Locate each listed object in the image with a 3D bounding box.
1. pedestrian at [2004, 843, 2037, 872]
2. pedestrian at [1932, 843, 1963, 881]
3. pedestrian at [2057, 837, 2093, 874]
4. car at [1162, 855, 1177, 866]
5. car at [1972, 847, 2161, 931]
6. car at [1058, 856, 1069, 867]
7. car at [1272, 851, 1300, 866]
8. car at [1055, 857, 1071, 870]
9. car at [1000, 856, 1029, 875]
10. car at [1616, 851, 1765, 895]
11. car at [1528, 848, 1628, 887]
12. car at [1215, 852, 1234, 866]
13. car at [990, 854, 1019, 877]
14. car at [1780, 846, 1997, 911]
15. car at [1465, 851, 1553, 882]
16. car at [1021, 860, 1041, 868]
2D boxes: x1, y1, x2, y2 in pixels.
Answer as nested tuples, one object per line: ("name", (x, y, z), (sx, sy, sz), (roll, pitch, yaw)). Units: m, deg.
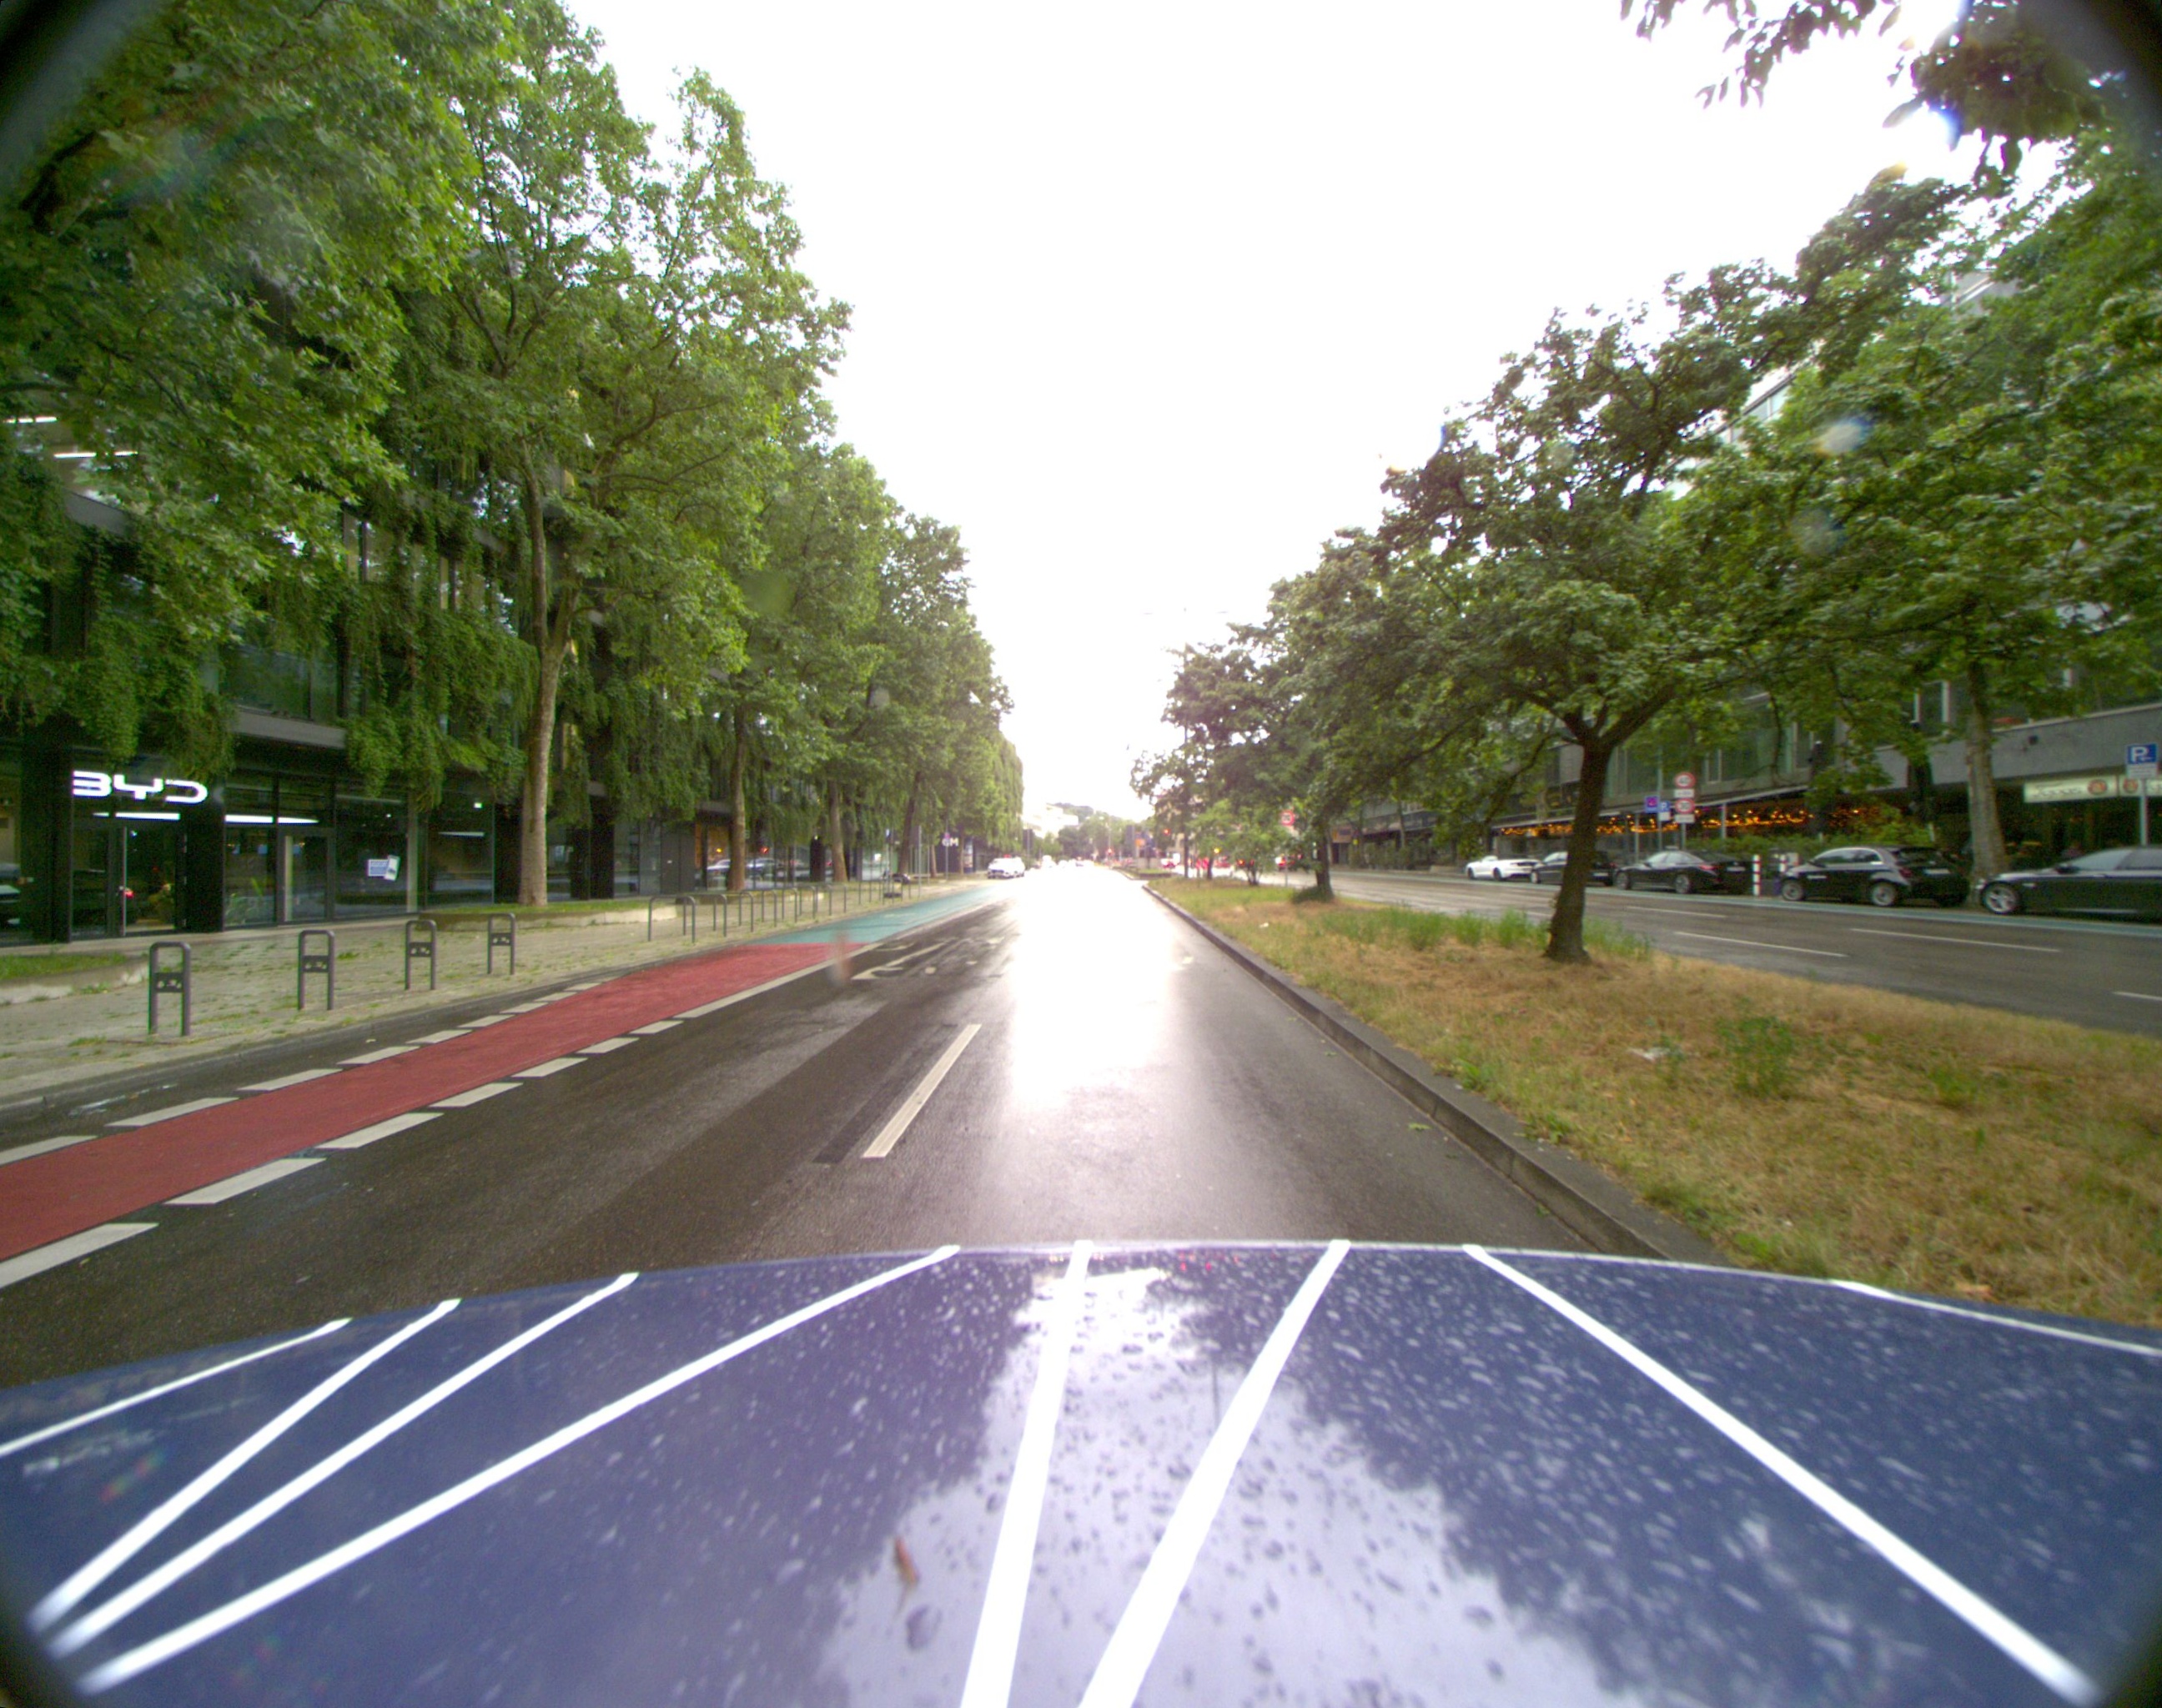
("pedestrian", (27.939, 0.095, 22.588), (0.440, 0.845, 0.433), (-2, 1, -1))
("pedestrian", (27.723, 0.258, 24.313), (0.445, 1.179, 0.467), (-2, 1, -6))
("pedestrian", (27.750, 0.037, 21.221), (0.464, 1.010, 0.424), (-2, 1, -1))
("car", (12.590, 0.866, 108.330), (1.678, 1.381, 3.527), (-2, 1, -2))
("car", (19.880, 0.605, 13.976), (1.875, 1.377, 4.537), (-2, 1, 5))
("car", (-2.702, 1.140, 120.317), (1.556, 1.534, 3.663), (-2, 1, 1))
("car", (19.550, 0.405, 72.495), (1.765, 1.318, 3.738), (-2, 1, 2))
("car", (-2.198, 1.182, 95.455), (1.780, 1.546, 3.929), (-2, 1, 1))
("car", (-6.086, 1.030, 70.395), (2.036, 1.553, 4.585), (-2, 1, 2))
("car", (20.069, 0.562, 25.280), (1.647, 1.232, 4.319), (-2, 1, 3))
("car", (20.459, 0.507, 31.467), (1.750, 1.445, 3.788), (-2, 1, 2))
("car", (19.623, 0.616, 103.828), (1.938, 1.776, 3.955), (-2, 1, 2))
("car", (-6.444, 0.965, 64.320), (1.932, 1.726, 4.598), (-2, 1, 0))
("car", (20.031, 0.540, 19.081), (1.875, 1.414, 3.400), (-2, 1, 2))
("car", (20.748, 0.559, 37.046), (1.881, 1.318, 4.392), (-2, 1, 2))
("car", (-9.733, 1.960, 148.180), (3.453, 1.450, 1.652), (-2, 1, 20))
